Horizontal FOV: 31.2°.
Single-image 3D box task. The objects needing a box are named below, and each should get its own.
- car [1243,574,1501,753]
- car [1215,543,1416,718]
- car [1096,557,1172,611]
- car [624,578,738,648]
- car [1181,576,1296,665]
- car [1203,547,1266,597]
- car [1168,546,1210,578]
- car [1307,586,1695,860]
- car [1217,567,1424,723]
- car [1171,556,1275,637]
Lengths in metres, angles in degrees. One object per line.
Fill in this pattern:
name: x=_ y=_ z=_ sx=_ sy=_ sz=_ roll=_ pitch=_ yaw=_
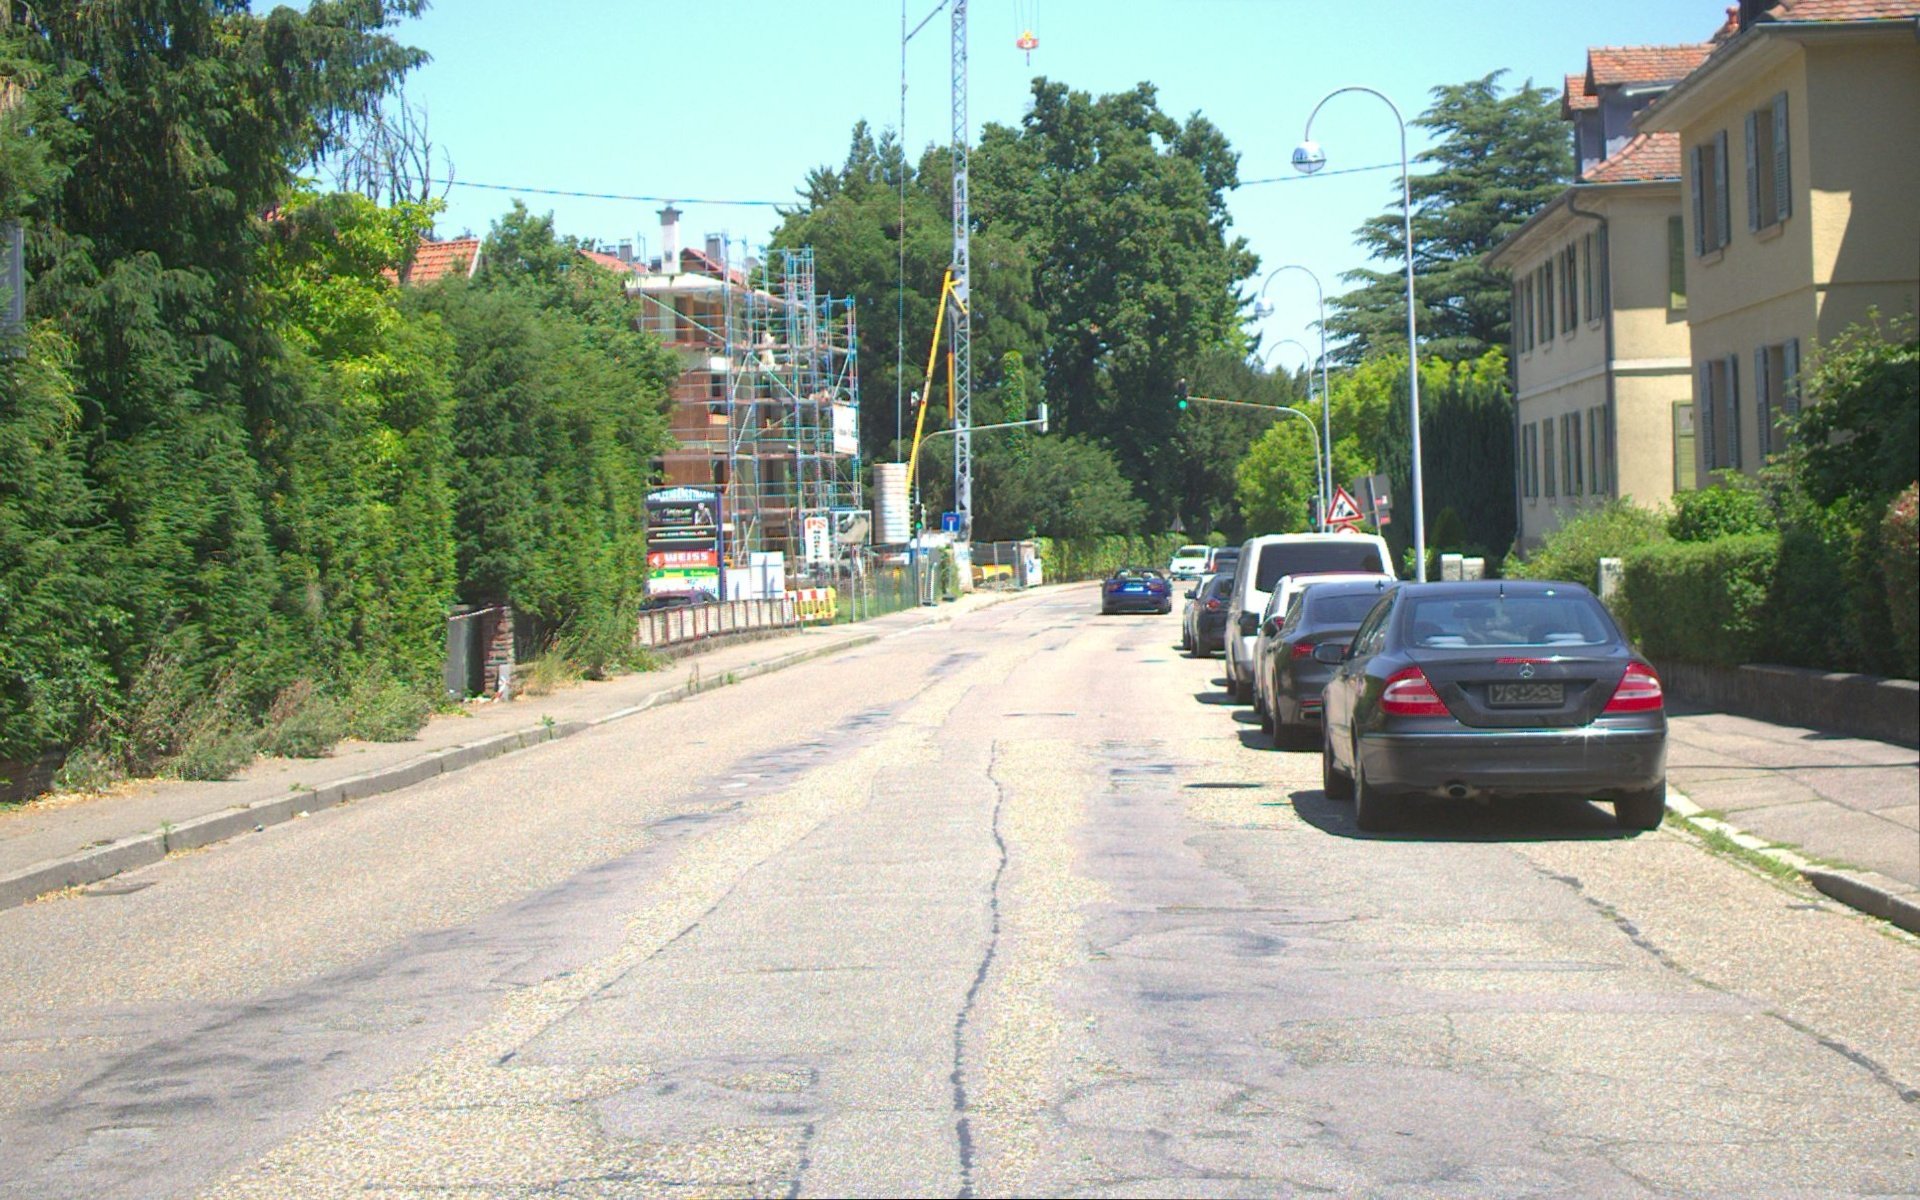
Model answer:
car: x=3.484 y=0.488 z=29.784 sx=1.761 sy=1.366 sz=4.607 roll=-1 pitch=1 yaw=1
car: x=4.085 y=0.310 z=40.183 sx=1.993 sy=1.894 sz=4.822 roll=1 pitch=1 yaw=2
car: x=5.044 y=-0.477 z=99.445 sx=1.959 sy=1.463 sz=3.999 roll=-1 pitch=1 yaw=6
car: x=-5.988 y=0.259 z=74.083 sx=1.660 sy=1.384 sz=3.533 roll=-2 pitch=0 yaw=8
car: x=4.852 y=0.340 z=60.238 sx=1.761 sy=1.446 sz=3.839 roll=-1 pitch=1 yaw=1
car: x=9.552 y=-0.988 z=119.433 sx=1.994 sy=1.656 sz=3.999 roll=-2 pitch=0 yaw=7
car: x=10.578 y=-1.772 z=158.795 sx=1.761 sy=1.446 sz=3.838 roll=-1 pitch=1 yaw=6
car: x=3.095 y=0.643 z=20.487 sx=1.693 sy=1.414 sz=4.551 roll=-1 pitch=0 yaw=2
car: x=3.581 y=0.413 z=34.682 sx=1.761 sy=1.446 sz=3.648 roll=-1 pitch=1 yaw=1
car: x=5.008 y=-0.090 z=65.795 sx=1.761 sy=1.446 sz=3.889 roll=-1 pitch=1 yaw=1
